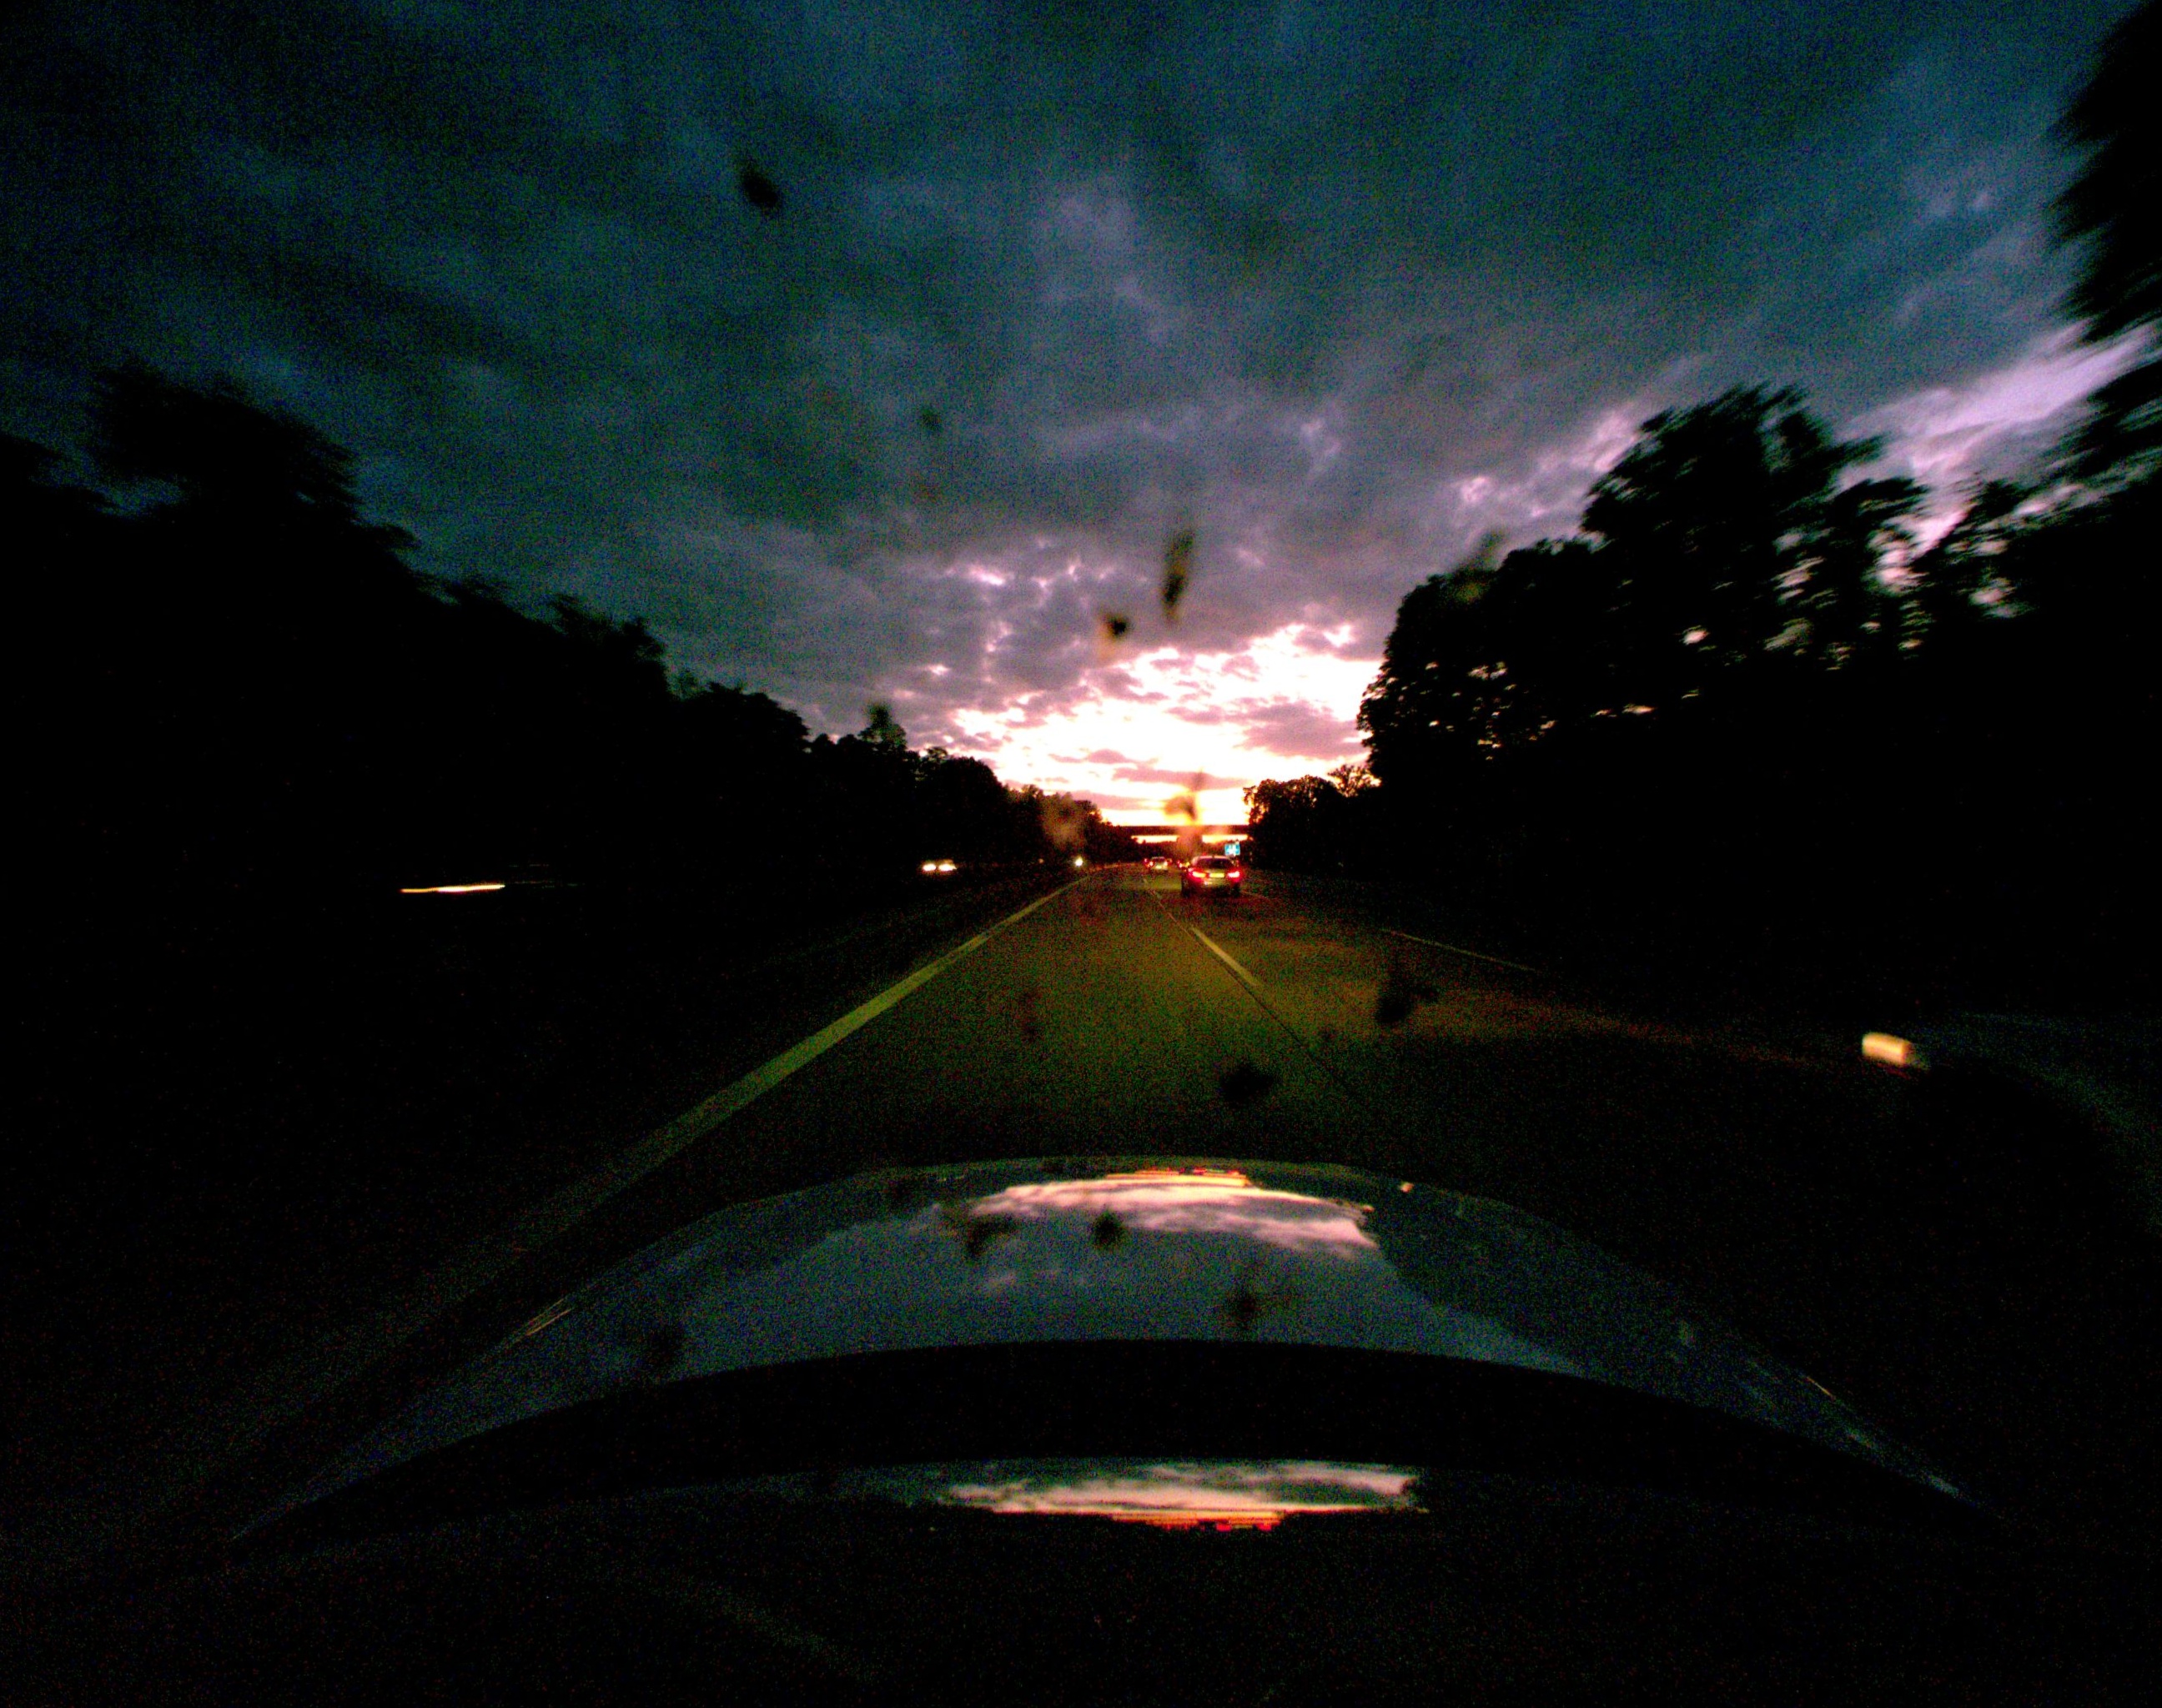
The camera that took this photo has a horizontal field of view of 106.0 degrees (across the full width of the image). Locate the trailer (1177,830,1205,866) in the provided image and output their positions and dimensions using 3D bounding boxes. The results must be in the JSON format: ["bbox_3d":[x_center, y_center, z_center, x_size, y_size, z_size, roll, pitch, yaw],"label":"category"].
[{"bbox_3d":[13.269,-0.619,98.981,2.893,4.101,10.371,-1,-2,5],"label":"trailer"}]

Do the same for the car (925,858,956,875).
[{"bbox_3d":[-12.192,1.049,70.838,1.835,1.455,3.606,-1,0,4],"label":"car"}]

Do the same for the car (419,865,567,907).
[{"bbox_3d":[-21.731,1.131,30.398,1.808,1.380,4.910,0,0,2],"label":"car"}]

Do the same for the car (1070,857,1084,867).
[{"bbox_3d":[-0.562,1.287,126.201,1.867,1.443,4.455,-1,0,3],"label":"car"}]

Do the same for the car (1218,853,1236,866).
[{"bbox_3d":[17.378,0.632,97.183,1.849,1.442,4.119,-1,-1,7],"label":"car"}]

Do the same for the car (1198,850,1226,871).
[{"bbox_3d":[10.836,0.541,67.685,1.894,1.643,5.059,-1,-1,5],"label":"car"}]

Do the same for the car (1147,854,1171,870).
[{"bbox_3d":[7.279,0.719,76.515,1.853,1.442,3.720,-1,0,0],"label":"car"}]

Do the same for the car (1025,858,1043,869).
[{"bbox_3d":[-6.278,1.284,110.090,1.867,1.443,4.455,-1,0,3],"label":"car"}]

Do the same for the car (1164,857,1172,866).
[{"bbox_3d":[23.087,1.989,216.237,2.155,2.419,5.571,-1,-2,5],"label":"car"}]

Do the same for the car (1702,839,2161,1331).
[{"bbox_3d":[4.139,0.702,1.763,1.802,1.466,5.134,-1,1,2],"label":"car"}]

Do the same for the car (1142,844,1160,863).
[{"bbox_3d":[9.602,0.021,111.427,2.154,2.419,5.574,-1,-2,7],"label":"car"}]

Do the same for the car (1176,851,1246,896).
[{"bbox_3d":[4.882,0.663,31.258,1.902,1.537,5.232,-1,0,1],"label":"car"}]
